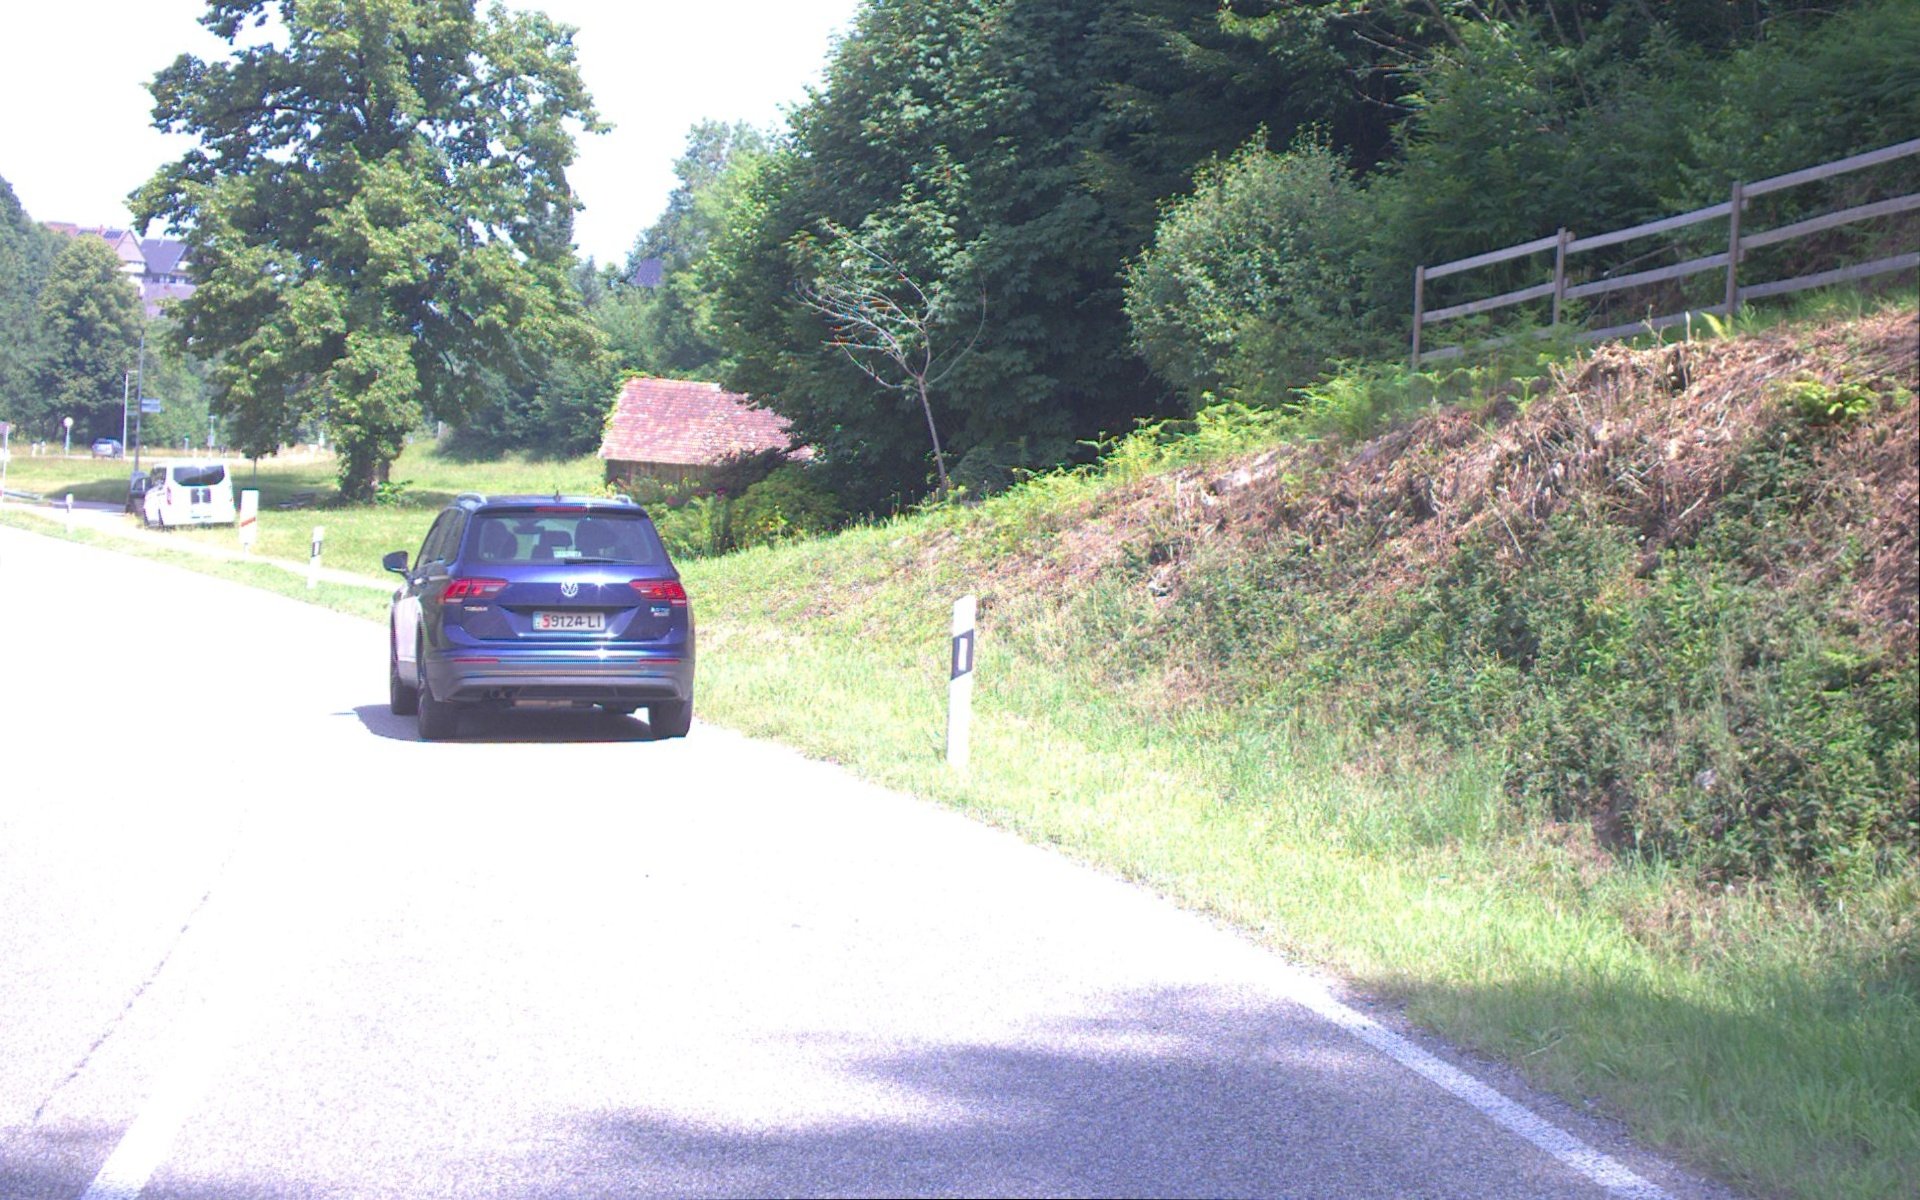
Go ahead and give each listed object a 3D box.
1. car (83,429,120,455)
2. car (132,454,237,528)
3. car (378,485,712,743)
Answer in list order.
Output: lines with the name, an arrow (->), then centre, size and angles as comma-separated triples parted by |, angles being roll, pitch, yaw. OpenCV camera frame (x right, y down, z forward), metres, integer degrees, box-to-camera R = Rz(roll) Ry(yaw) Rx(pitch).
car -> -63.348, -11.654, 253.712 | 1.803, 1.612, 4.000 | 2, 0, -3
car -> -21.581, -3.064, 95.500 | 1.999, 1.842, 4.871 | -4, 4, -22
car -> -2.996, 0.021, 24.107 | 1.852, 1.643, 4.141 | 0, 2, -14
